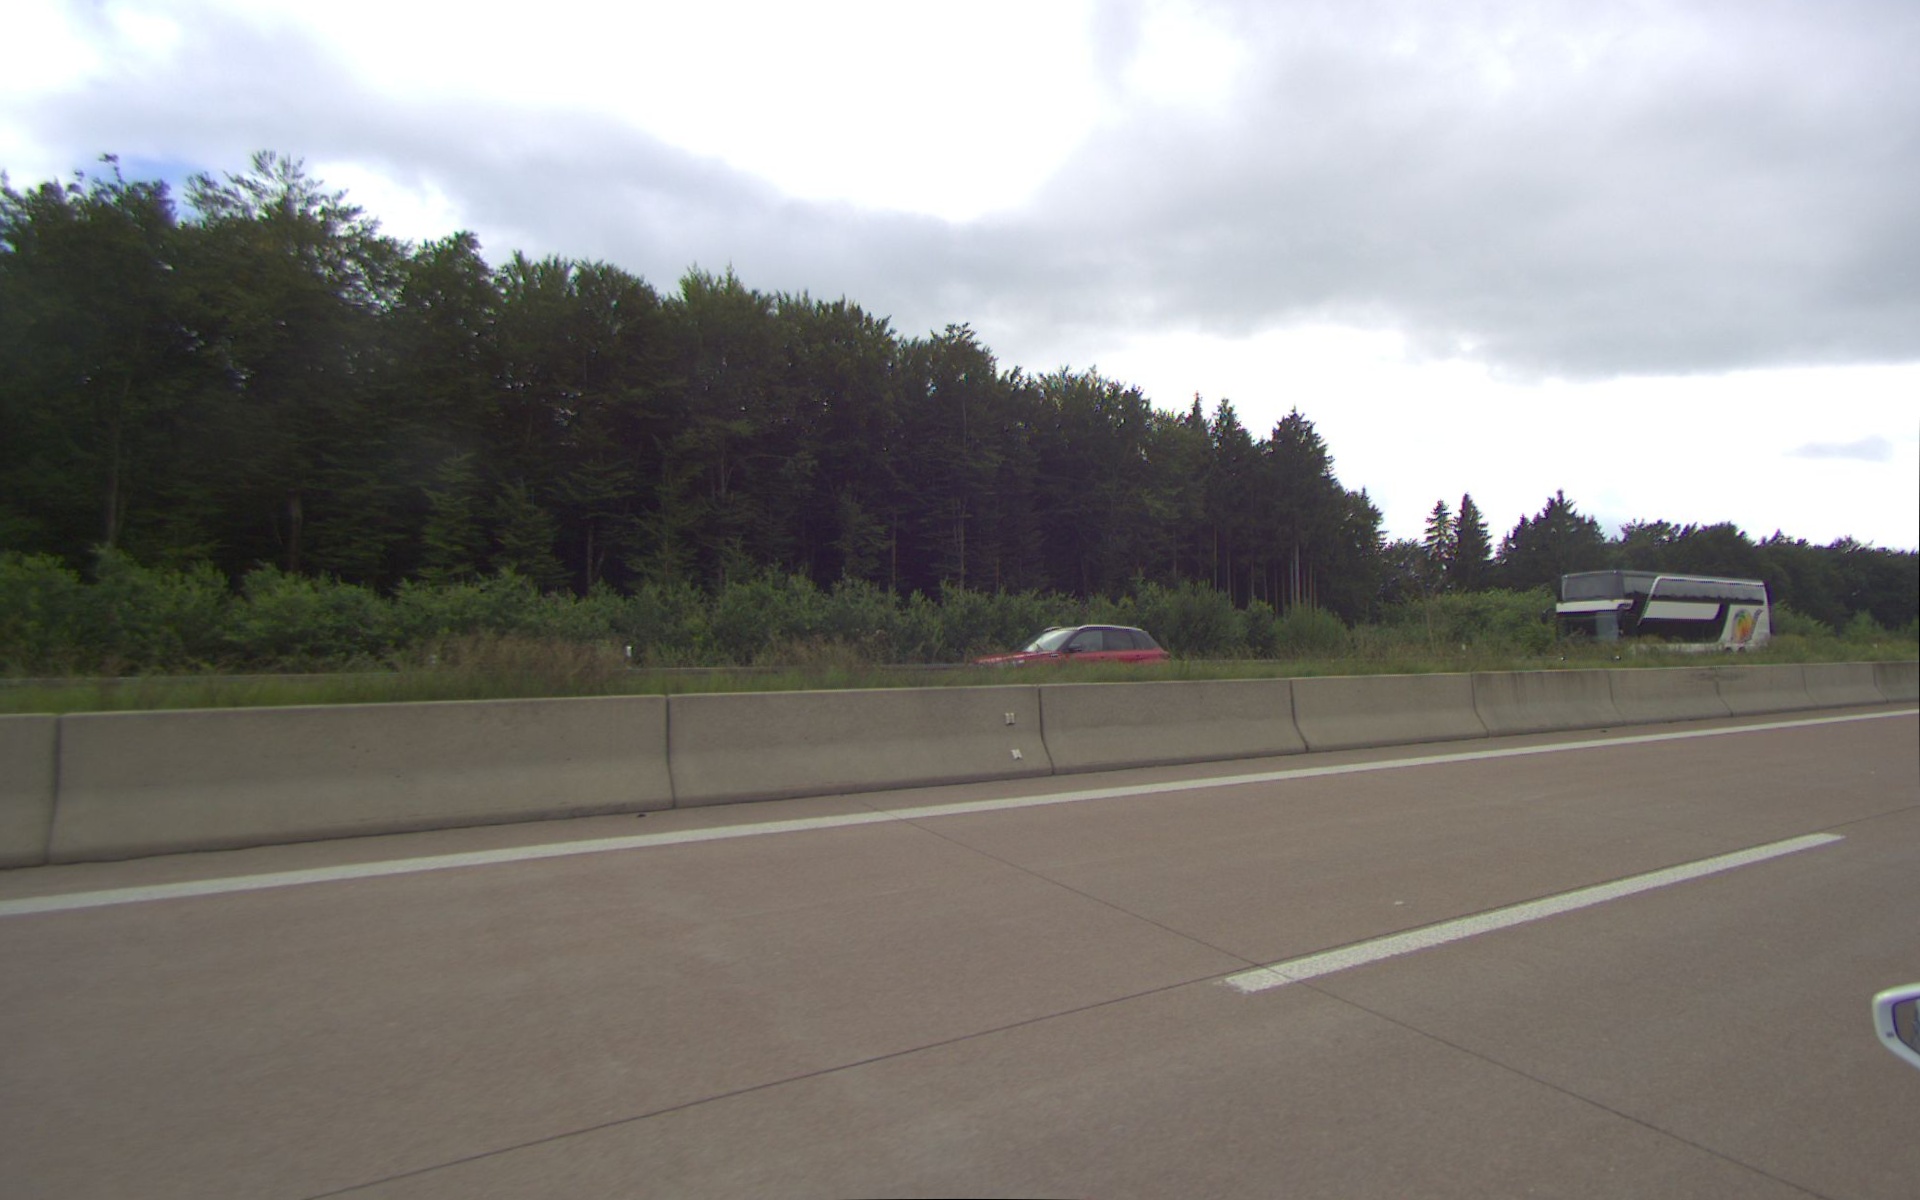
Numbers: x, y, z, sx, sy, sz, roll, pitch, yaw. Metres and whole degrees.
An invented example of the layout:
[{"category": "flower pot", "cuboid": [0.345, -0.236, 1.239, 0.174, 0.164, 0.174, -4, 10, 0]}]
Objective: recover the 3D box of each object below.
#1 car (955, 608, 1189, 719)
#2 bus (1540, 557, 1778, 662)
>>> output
[{"category": "car", "cuboid": [2.197, 1.156, 19.455, 4.118, 1.858, 1.983, 1, 1, -31]}, {"category": "bus", "cuboid": [30.001, 0.504, 42.659, 14.204, 3.940, 3.032, 1, 0, -32]}]
